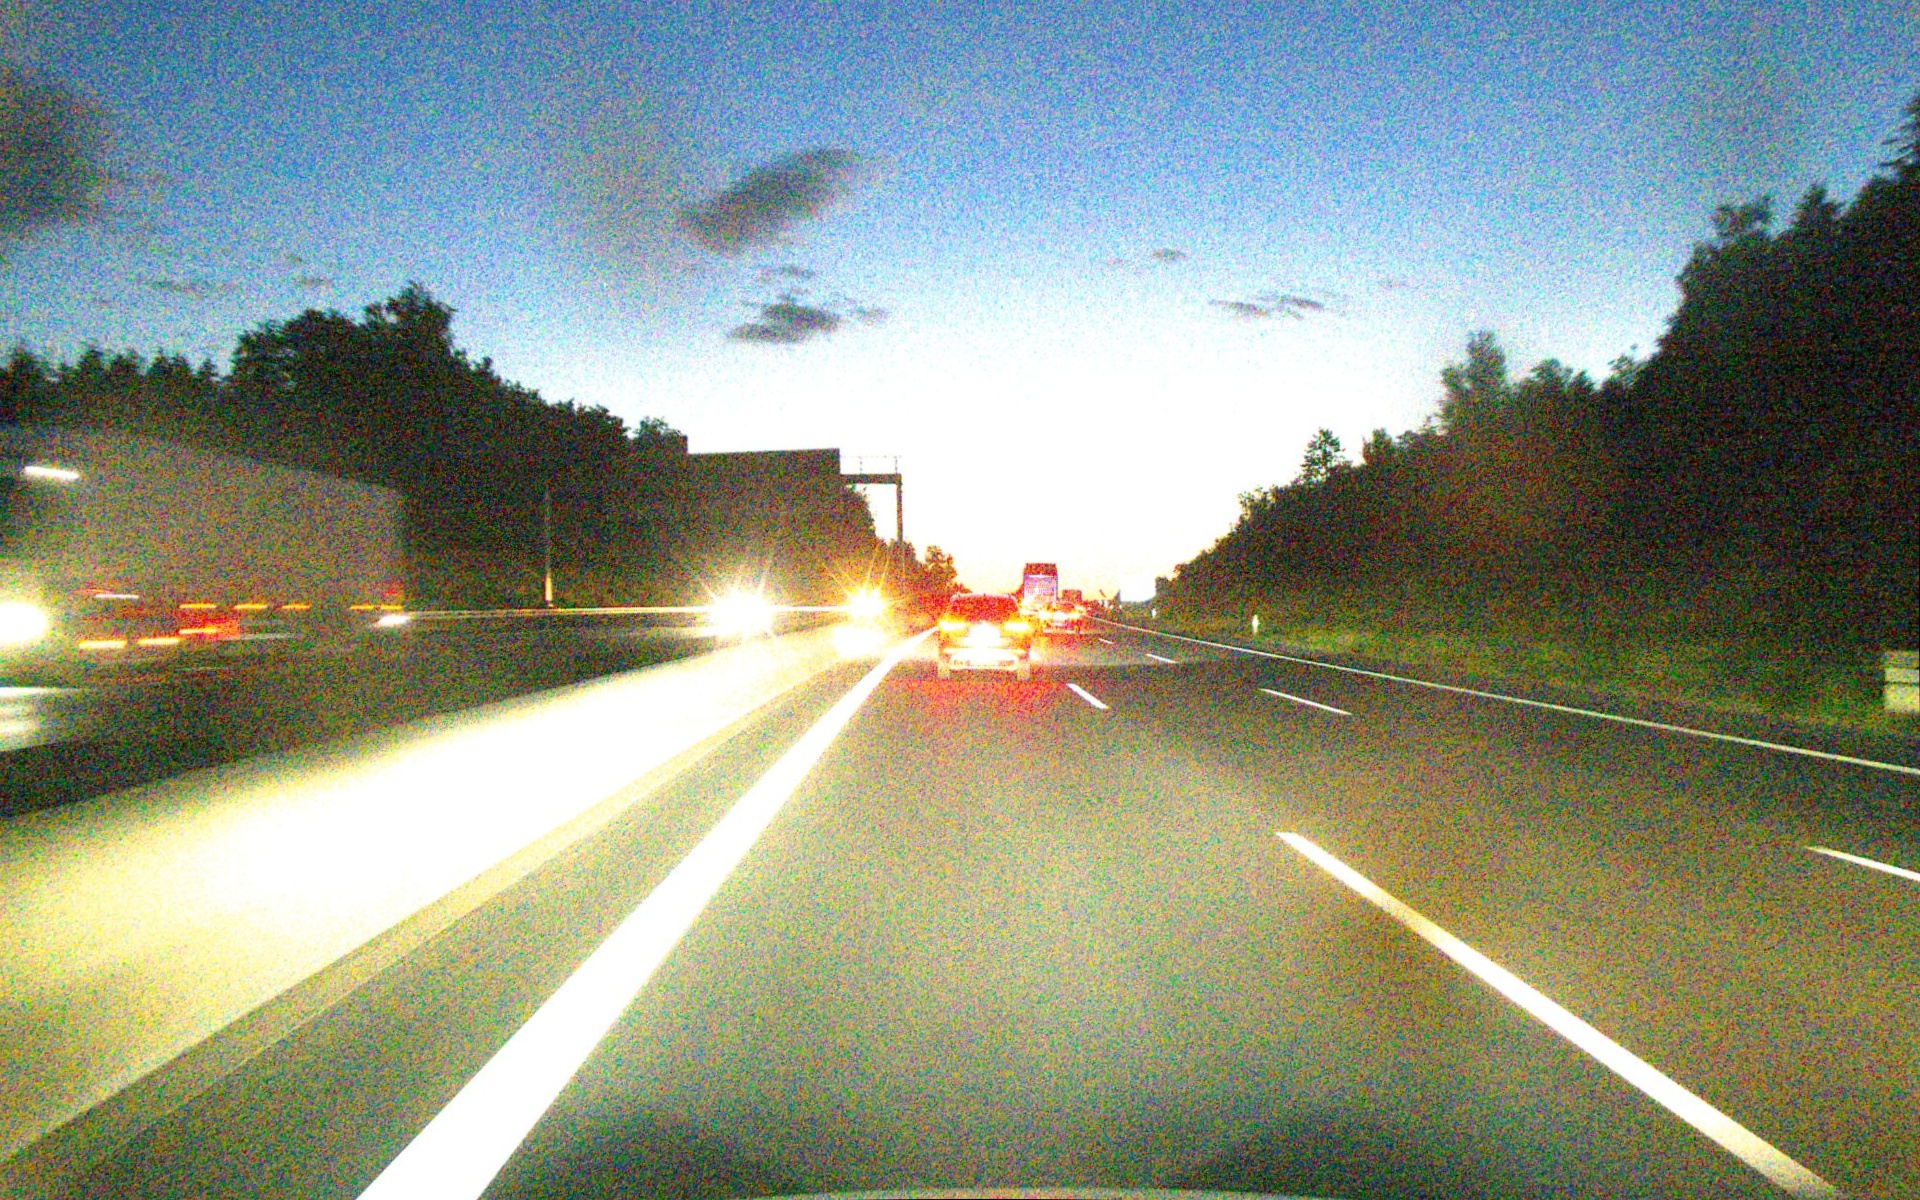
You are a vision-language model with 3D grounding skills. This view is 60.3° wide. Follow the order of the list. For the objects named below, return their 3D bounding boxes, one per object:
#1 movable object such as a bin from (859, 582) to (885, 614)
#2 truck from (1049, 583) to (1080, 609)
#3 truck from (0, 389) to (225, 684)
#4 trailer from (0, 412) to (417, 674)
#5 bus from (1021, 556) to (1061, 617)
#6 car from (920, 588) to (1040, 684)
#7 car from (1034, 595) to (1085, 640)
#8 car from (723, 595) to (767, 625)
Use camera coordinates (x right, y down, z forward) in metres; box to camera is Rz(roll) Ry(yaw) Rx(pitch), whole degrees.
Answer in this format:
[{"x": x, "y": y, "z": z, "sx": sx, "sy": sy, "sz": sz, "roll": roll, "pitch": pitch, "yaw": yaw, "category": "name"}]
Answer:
[{"x": -9.585, "y": -0.200, "z": 181.252, "sx": 2.162, "sy": 3.477, "sz": 7.439, "roll": 0, "pitch": 0, "yaw": 2, "category": "movable object such as a bin"}, {"x": 12.759, "y": -0.515, "z": 202.850, "sx": 2.496, "sy": 3.069, "sz": 9.045, "roll": 1, "pitch": 0, "yaw": -4, "category": "truck"}, {"x": -15.569, "y": -0.996, "z": 28.536, "sx": 2.794, "sy": 4.511, "sz": 6.396, "roll": 1, "pitch": 0, "yaw": 0, "category": "truck"}, {"x": -15.534, "y": -0.992, "z": 35.771, "sx": 2.794, "sy": 4.511, "sz": 13.980, "roll": 1, "pitch": 0, "yaw": 0, "category": "trailer"}, {"x": 6.144, "y": -0.853, "z": 123.213, "sx": 2.596, "sy": 4.064, "sz": 14.707, "roll": -2, "pitch": -1, "yaw": 4, "category": "bus"}, {"x": 0.307, "y": 0.631, "z": 32.014, "sx": 2.063, "sy": 1.646, "sz": 4.202, "roll": 2, "pitch": 1, "yaw": -3, "category": "car"}, {"x": 4.249, "y": 0.786, "z": 70.944, "sx": 1.872, "sy": 1.760, "sz": 4.000, "roll": 3, "pitch": -1, "yaw": 0, "category": "car"}, {"x": -11.193, "y": 0.506, "z": 86.209, "sx": 1.776, "sy": 1.478, "sz": 4.133, "roll": 0, "pitch": 0, "yaw": -1, "category": "car"}]
